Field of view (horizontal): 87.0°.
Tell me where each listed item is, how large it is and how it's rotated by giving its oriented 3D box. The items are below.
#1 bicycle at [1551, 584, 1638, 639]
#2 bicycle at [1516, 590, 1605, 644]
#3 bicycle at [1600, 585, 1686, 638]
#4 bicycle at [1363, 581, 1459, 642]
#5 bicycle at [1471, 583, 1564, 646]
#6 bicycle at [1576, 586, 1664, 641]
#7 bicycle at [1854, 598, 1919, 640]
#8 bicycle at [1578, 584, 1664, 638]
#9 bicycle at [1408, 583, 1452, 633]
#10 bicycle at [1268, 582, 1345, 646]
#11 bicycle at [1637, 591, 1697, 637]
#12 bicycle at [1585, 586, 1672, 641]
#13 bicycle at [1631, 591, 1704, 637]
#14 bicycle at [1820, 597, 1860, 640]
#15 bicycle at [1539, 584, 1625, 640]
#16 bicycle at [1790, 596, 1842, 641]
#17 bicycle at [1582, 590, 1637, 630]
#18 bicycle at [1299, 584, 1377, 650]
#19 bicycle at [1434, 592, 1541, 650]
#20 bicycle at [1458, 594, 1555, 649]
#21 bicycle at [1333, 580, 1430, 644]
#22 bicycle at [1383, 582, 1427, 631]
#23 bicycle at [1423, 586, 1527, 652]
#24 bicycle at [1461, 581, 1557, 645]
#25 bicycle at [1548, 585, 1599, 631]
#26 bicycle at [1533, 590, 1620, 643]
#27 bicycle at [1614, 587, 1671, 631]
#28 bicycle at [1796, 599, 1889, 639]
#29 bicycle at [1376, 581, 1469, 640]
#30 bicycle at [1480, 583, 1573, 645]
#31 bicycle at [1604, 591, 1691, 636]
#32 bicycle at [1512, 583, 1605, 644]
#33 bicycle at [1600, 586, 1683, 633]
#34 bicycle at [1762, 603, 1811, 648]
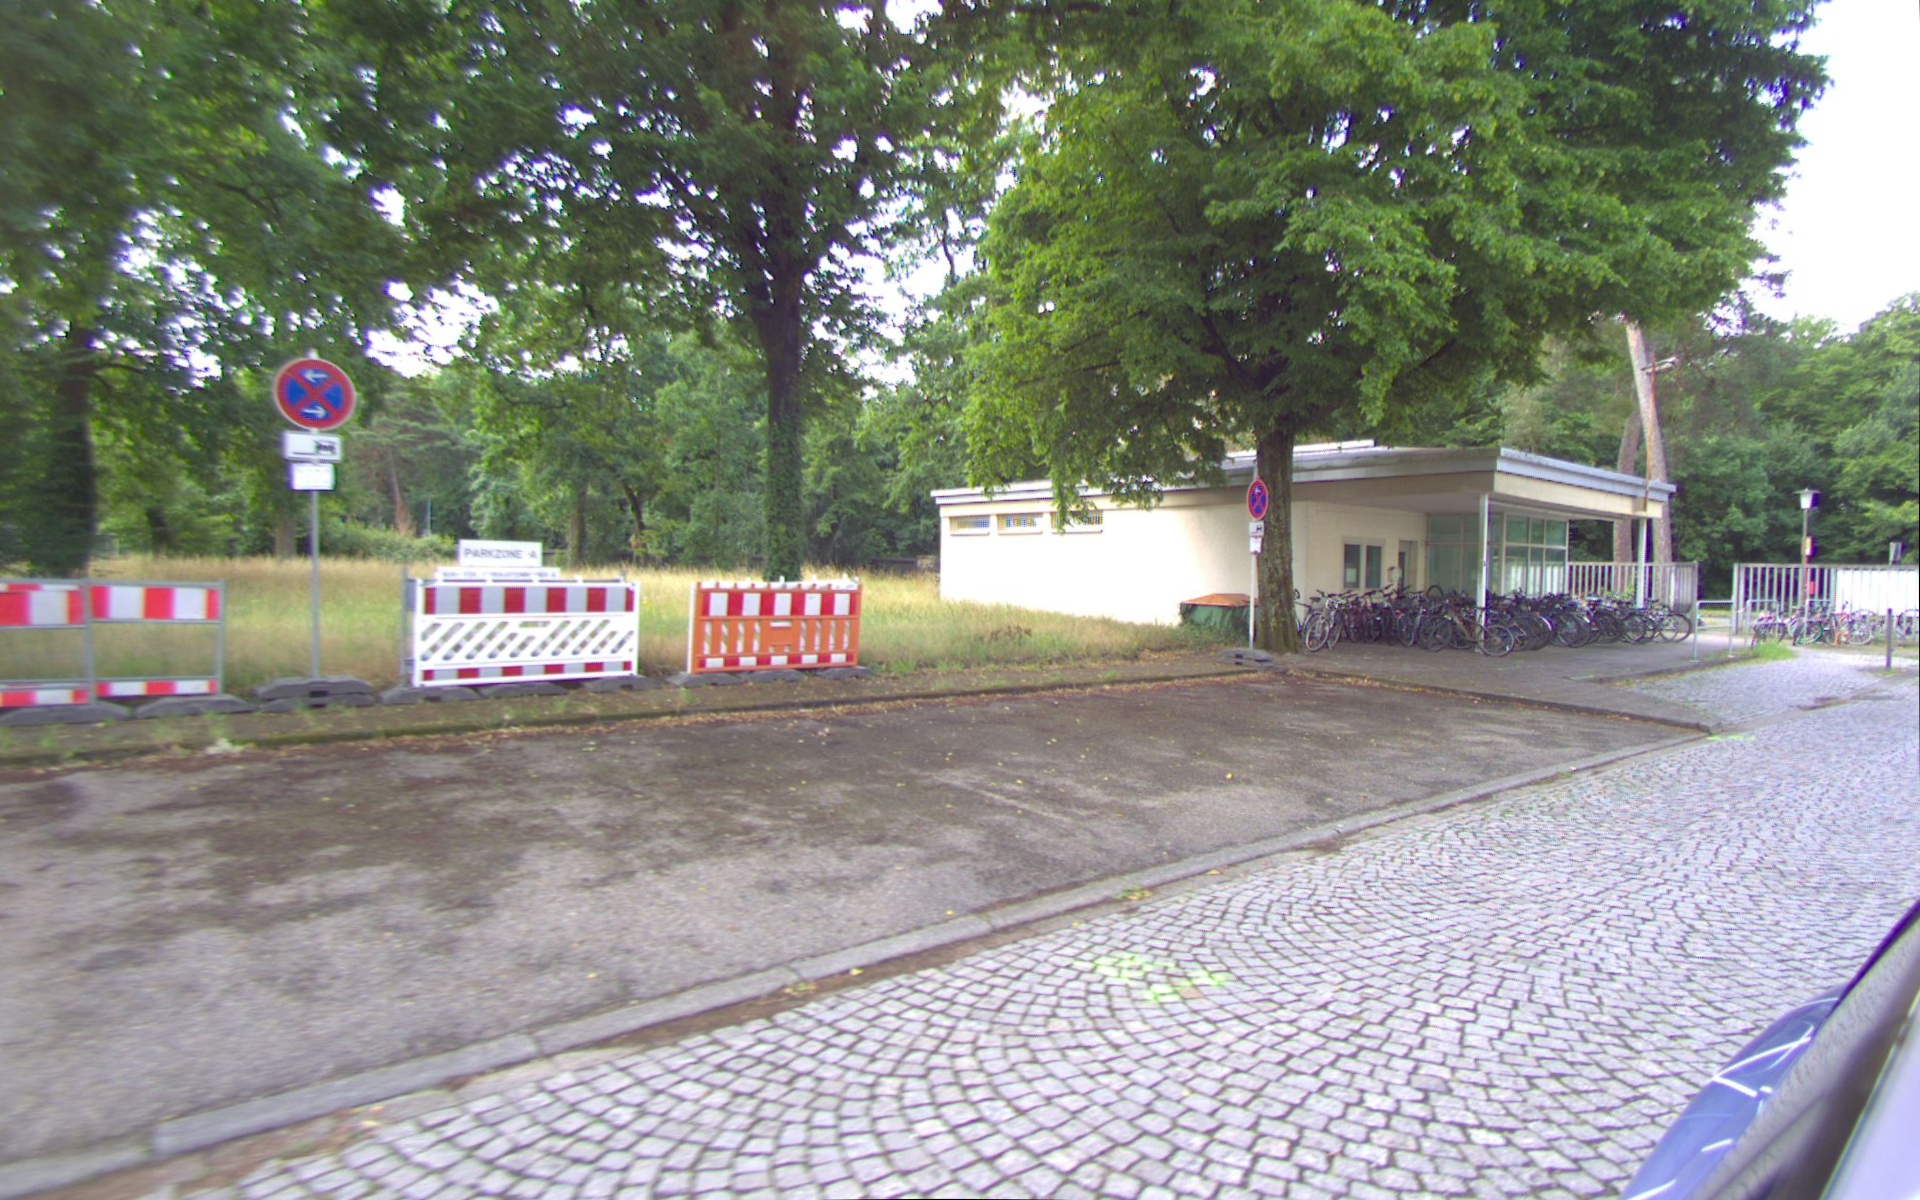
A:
[{"bbox_3d":[14.631,0.246,23.376,1.613,1.154,0.320,5,4,44],"label":"bicycle"},{"bbox_3d":[13.285,0.364,22.425,1.626,1.062,0.330,4,3,37],"label":"bicycle"},{"bbox_3d":[16.417,0.253,24.354,1.613,1.154,0.350,5,4,44],"label":"bicycle"},{"bbox_3d":[9.634,0.222,21.668,0.598,1.179,1.743,0,4,-43],"label":"bicycle"},{"bbox_3d":[11.699,0.282,21.266,1.627,1.204,0.414,5,3,39],"label":"bicycle"},{"bbox_3d":[15.263,0.298,23.423,1.613,1.154,0.320,5,4,44],"label":"bicycle"},{"bbox_3d":[25.573,0.519,27.586,0.380,1.046,1.731,0,3,-37],"label":"bicycle"},{"bbox_3d":[15.740,0.245,24.128,1.613,1.154,0.350,5,4,44],"label":"bicycle"},{"bbox_3d":[10.892,0.166,23.434,0.478,1.089,1.657,4,3,39],"label":"bicycle"},{"bbox_3d":[6.574,0.246,19.151,1.606,1.130,0.598,0,3,-41],"label":"bicycle"},{"bbox_3d":[17.048,0.325,24.430,1.144,1.076,0.284,2,1,31],"label":"bicycle"},{"bbox_3d":[15.588,0.295,23.622,1.613,1.154,0.320,5,4,44],"label":"bicycle"},{"bbox_3d":[17.291,0.337,24.750,1.391,1.059,0.336,2,1,25],"label":"bicycle"},{"bbox_3d":[22.802,0.458,26.209,1.701,1.070,0.474,0,2,-39],"label":"bicycle"},{"bbox_3d":[14.103,0.252,22.981,1.592,1.154,0.320,5,4,44],"label":"bicycle"},{"bbox_3d":[21.248,0.442,25.108,1.537,1.075,0.692,0,2,-39],"label":"bicycle"},{"bbox_3d":[17.126,0.259,26.693,1.328,1.023,0.406,1,2,-16],"label":"bicycle"},{"bbox_3d":[6.989,0.296,18.679,1.606,1.130,0.598,0,3,-41],"label":"bicycle"},{"bbox_3d":[10.322,0.386,19.884,1.725,0.988,0.754,3,3,21],"label":"bicycle"},{"bbox_3d":[10.965,0.417,20.347,1.616,0.988,0.320,3,3,21],"label":"bicycle"},{"bbox_3d":[8.775,0.230,21.125,0.598,1.179,1.743,0,4,-43],"label":"bicycle"},{"bbox_3d":[10.483,0.138,23.836,0.478,1.089,1.657,4,3,39],"label":"bicycle"},{"bbox_3d":[9.750,0.335,19.186,1.673,1.121,0.334,5,3,38],"label":"bicycle"},{"bbox_3d":[11.313,0.245,20.880,1.627,1.204,0.467,5,3,38],"label":"bicycle"},{"bbox_3d":[15.286,0.185,25.201,1.800,1.089,0.491,0,3,-41],"label":"bicycle"},{"bbox_3d":[13.824,0.356,22.726,1.592,1.062,0.320,5,4,44],"label":"bicycle"},{"bbox_3d":[18.499,0.229,27.423,1.648,1.152,0.650,0,2,-33],"label":"bicycle"},{"bbox_3d":[24.357,0.505,27.957,0.495,0.950,1.865,0,3,-44],"label":"bicycle"},{"bbox_3d":[10.213,0.210,22.389,0.598,1.179,1.743,0,4,-43],"label":"bicycle"},{"bbox_3d":[12.128,0.276,21.691,1.627,1.204,0.414,5,3,39],"label":"bicycle"},{"bbox_3d":[17.249,0.336,25.407,1.723,1.059,0.453,1,1,13],"label":"bicycle"},{"bbox_3d":[12.951,0.273,21.928,1.627,1.204,0.492,5,3,39],"label":"bicycle"},{"bbox_3d":[17.458,0.232,25.943,1.711,1.146,0.473,1,1,7],"label":"bicycle"},{"bbox_3d":[19.026,0.566,23.287,1.625,0.964,0.535,-1,3,-39],"label":"bicycle"}]
